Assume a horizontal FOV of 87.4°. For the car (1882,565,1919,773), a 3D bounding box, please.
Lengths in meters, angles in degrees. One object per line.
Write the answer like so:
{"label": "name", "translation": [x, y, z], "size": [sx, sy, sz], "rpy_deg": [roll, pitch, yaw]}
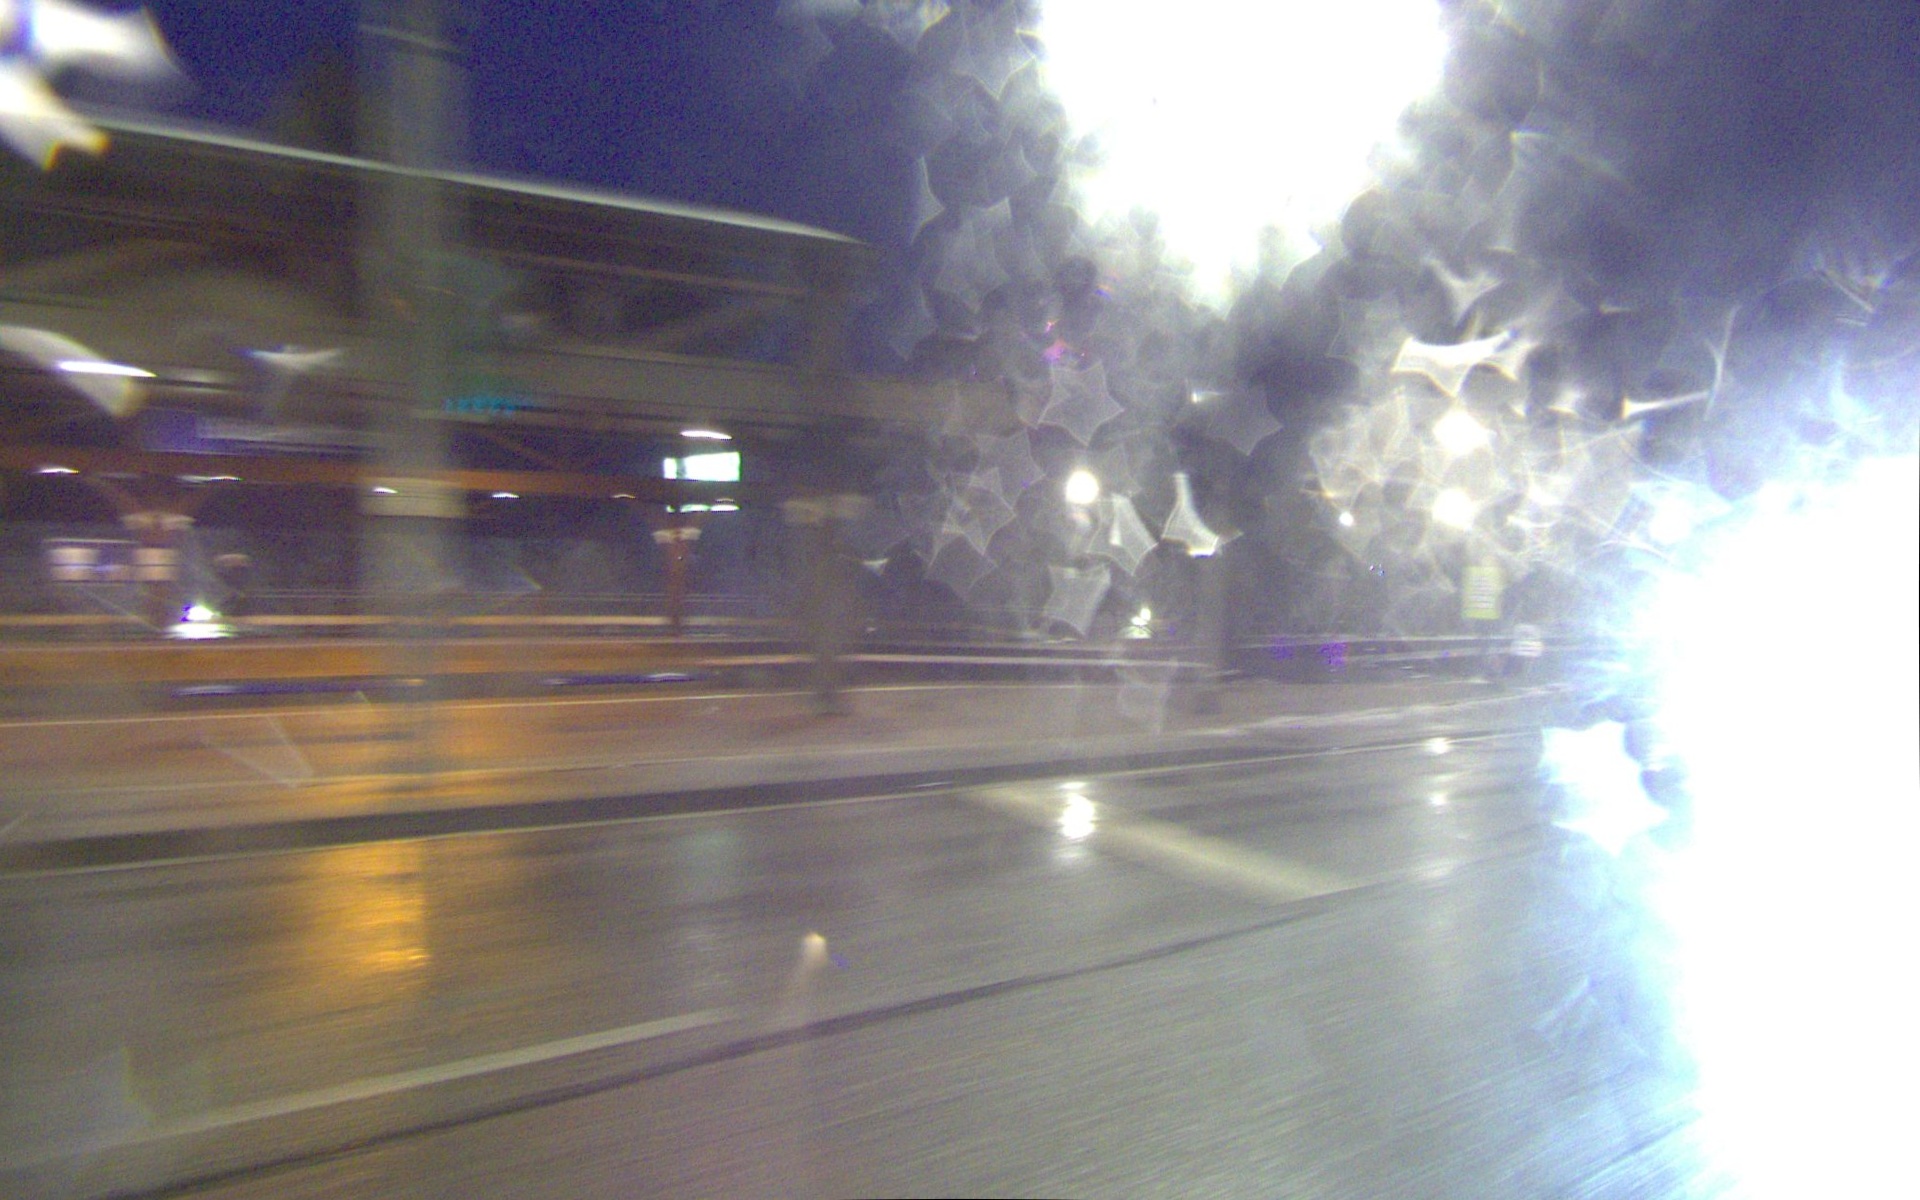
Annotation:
{"label": "car", "translation": [10.984, 0.664, 10.054], "size": [4.415, 1.912, 1.998], "rpy_deg": [0, 1, -40]}
